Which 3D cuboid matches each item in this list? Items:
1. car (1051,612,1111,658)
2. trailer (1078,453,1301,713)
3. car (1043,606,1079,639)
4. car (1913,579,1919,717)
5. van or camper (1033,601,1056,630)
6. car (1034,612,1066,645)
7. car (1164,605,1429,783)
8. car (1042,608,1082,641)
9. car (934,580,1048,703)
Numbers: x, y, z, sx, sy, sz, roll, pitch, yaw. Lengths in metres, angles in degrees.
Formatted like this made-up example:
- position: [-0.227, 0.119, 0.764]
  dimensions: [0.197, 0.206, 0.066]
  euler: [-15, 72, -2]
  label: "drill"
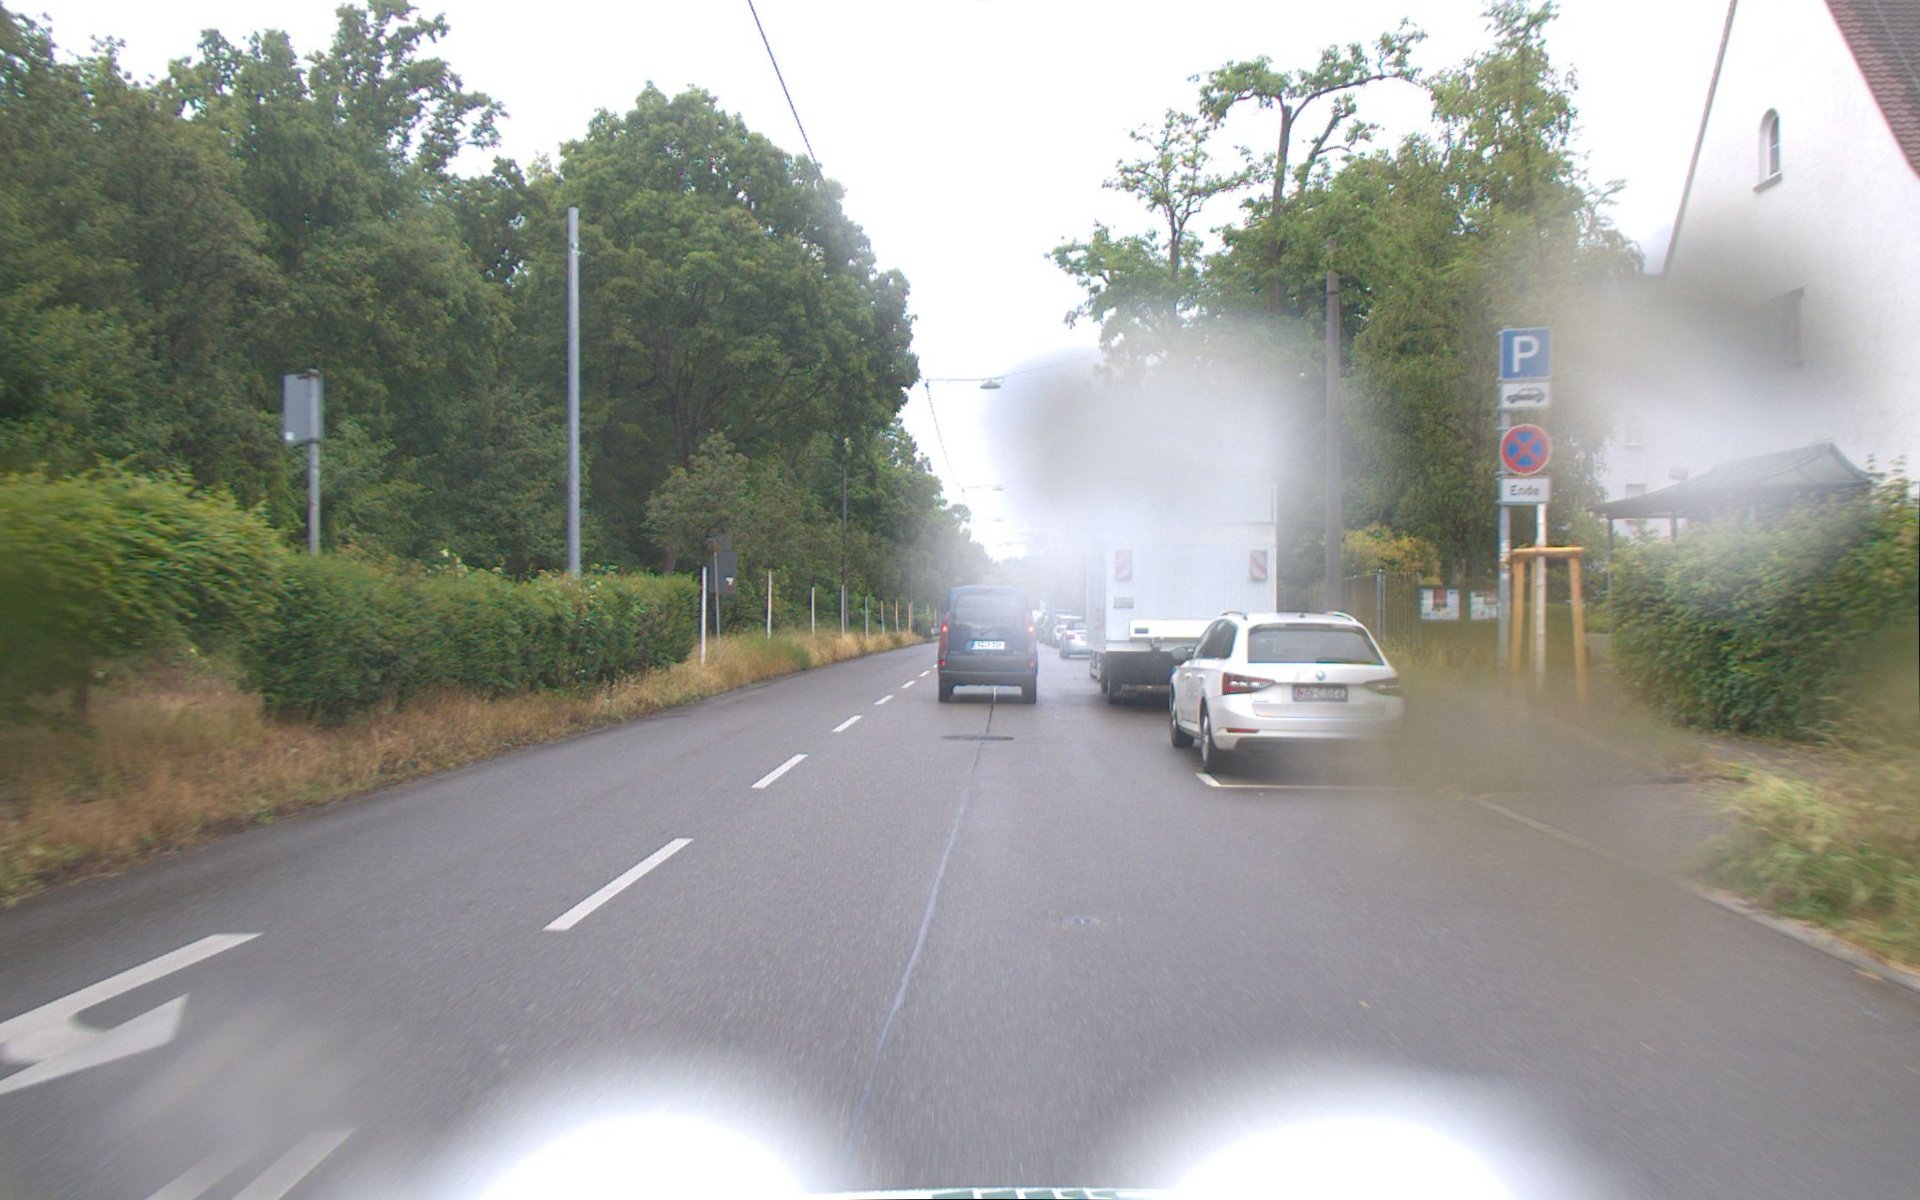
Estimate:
- position: [4.024, 1.138, 55.309]
  dimensions: [1.745, 1.420, 4.000]
  euler: [1, 0, 1]
  label: "car"
- position: [3.493, -0.221, 27.185]
  dimensions: [2.677, 3.570, 8.248]
  euler: [1, 0, 1]
  label: "trailer"
- position: [5.017, 1.111, 82.319]
  dimensions: [1.644, 1.583, 4.076]
  euler: [1, 0, 2]
  label: "car"
- position: [11.534, 0.520, 16.973]
  dimensions: [1.611, 1.545, 3.390]
  euler: [-1, 0, 2]
  label: "car"
- position: [7.972, 1.444, 156.198]
  dimensions: [2.035, 2.697, 5.347]
  euler: [1, 0, 2]
  label: "van or camper"
- position: [5.802, 1.823, 106.882]
  dimensions: [1.952, 2.049, 4.889]
  euler: [1, 0, 2]
  label: "car"
- position: [3.168, 0.816, 16.464]
  dimensions: [1.759, 1.500, 4.548]
  euler: [1, 0, 1]
  label: "car"
- position: [4.748, 1.133, 77.356]
  dimensions: [1.702, 1.490, 3.725]
  euler: [1, 0, 2]
  label: "car"
- position: [0.458, 0.645, 27.305]
  dimensions: [1.731, 1.862, 3.541]
  euler: [1, 0, -1]
  label: "car"
